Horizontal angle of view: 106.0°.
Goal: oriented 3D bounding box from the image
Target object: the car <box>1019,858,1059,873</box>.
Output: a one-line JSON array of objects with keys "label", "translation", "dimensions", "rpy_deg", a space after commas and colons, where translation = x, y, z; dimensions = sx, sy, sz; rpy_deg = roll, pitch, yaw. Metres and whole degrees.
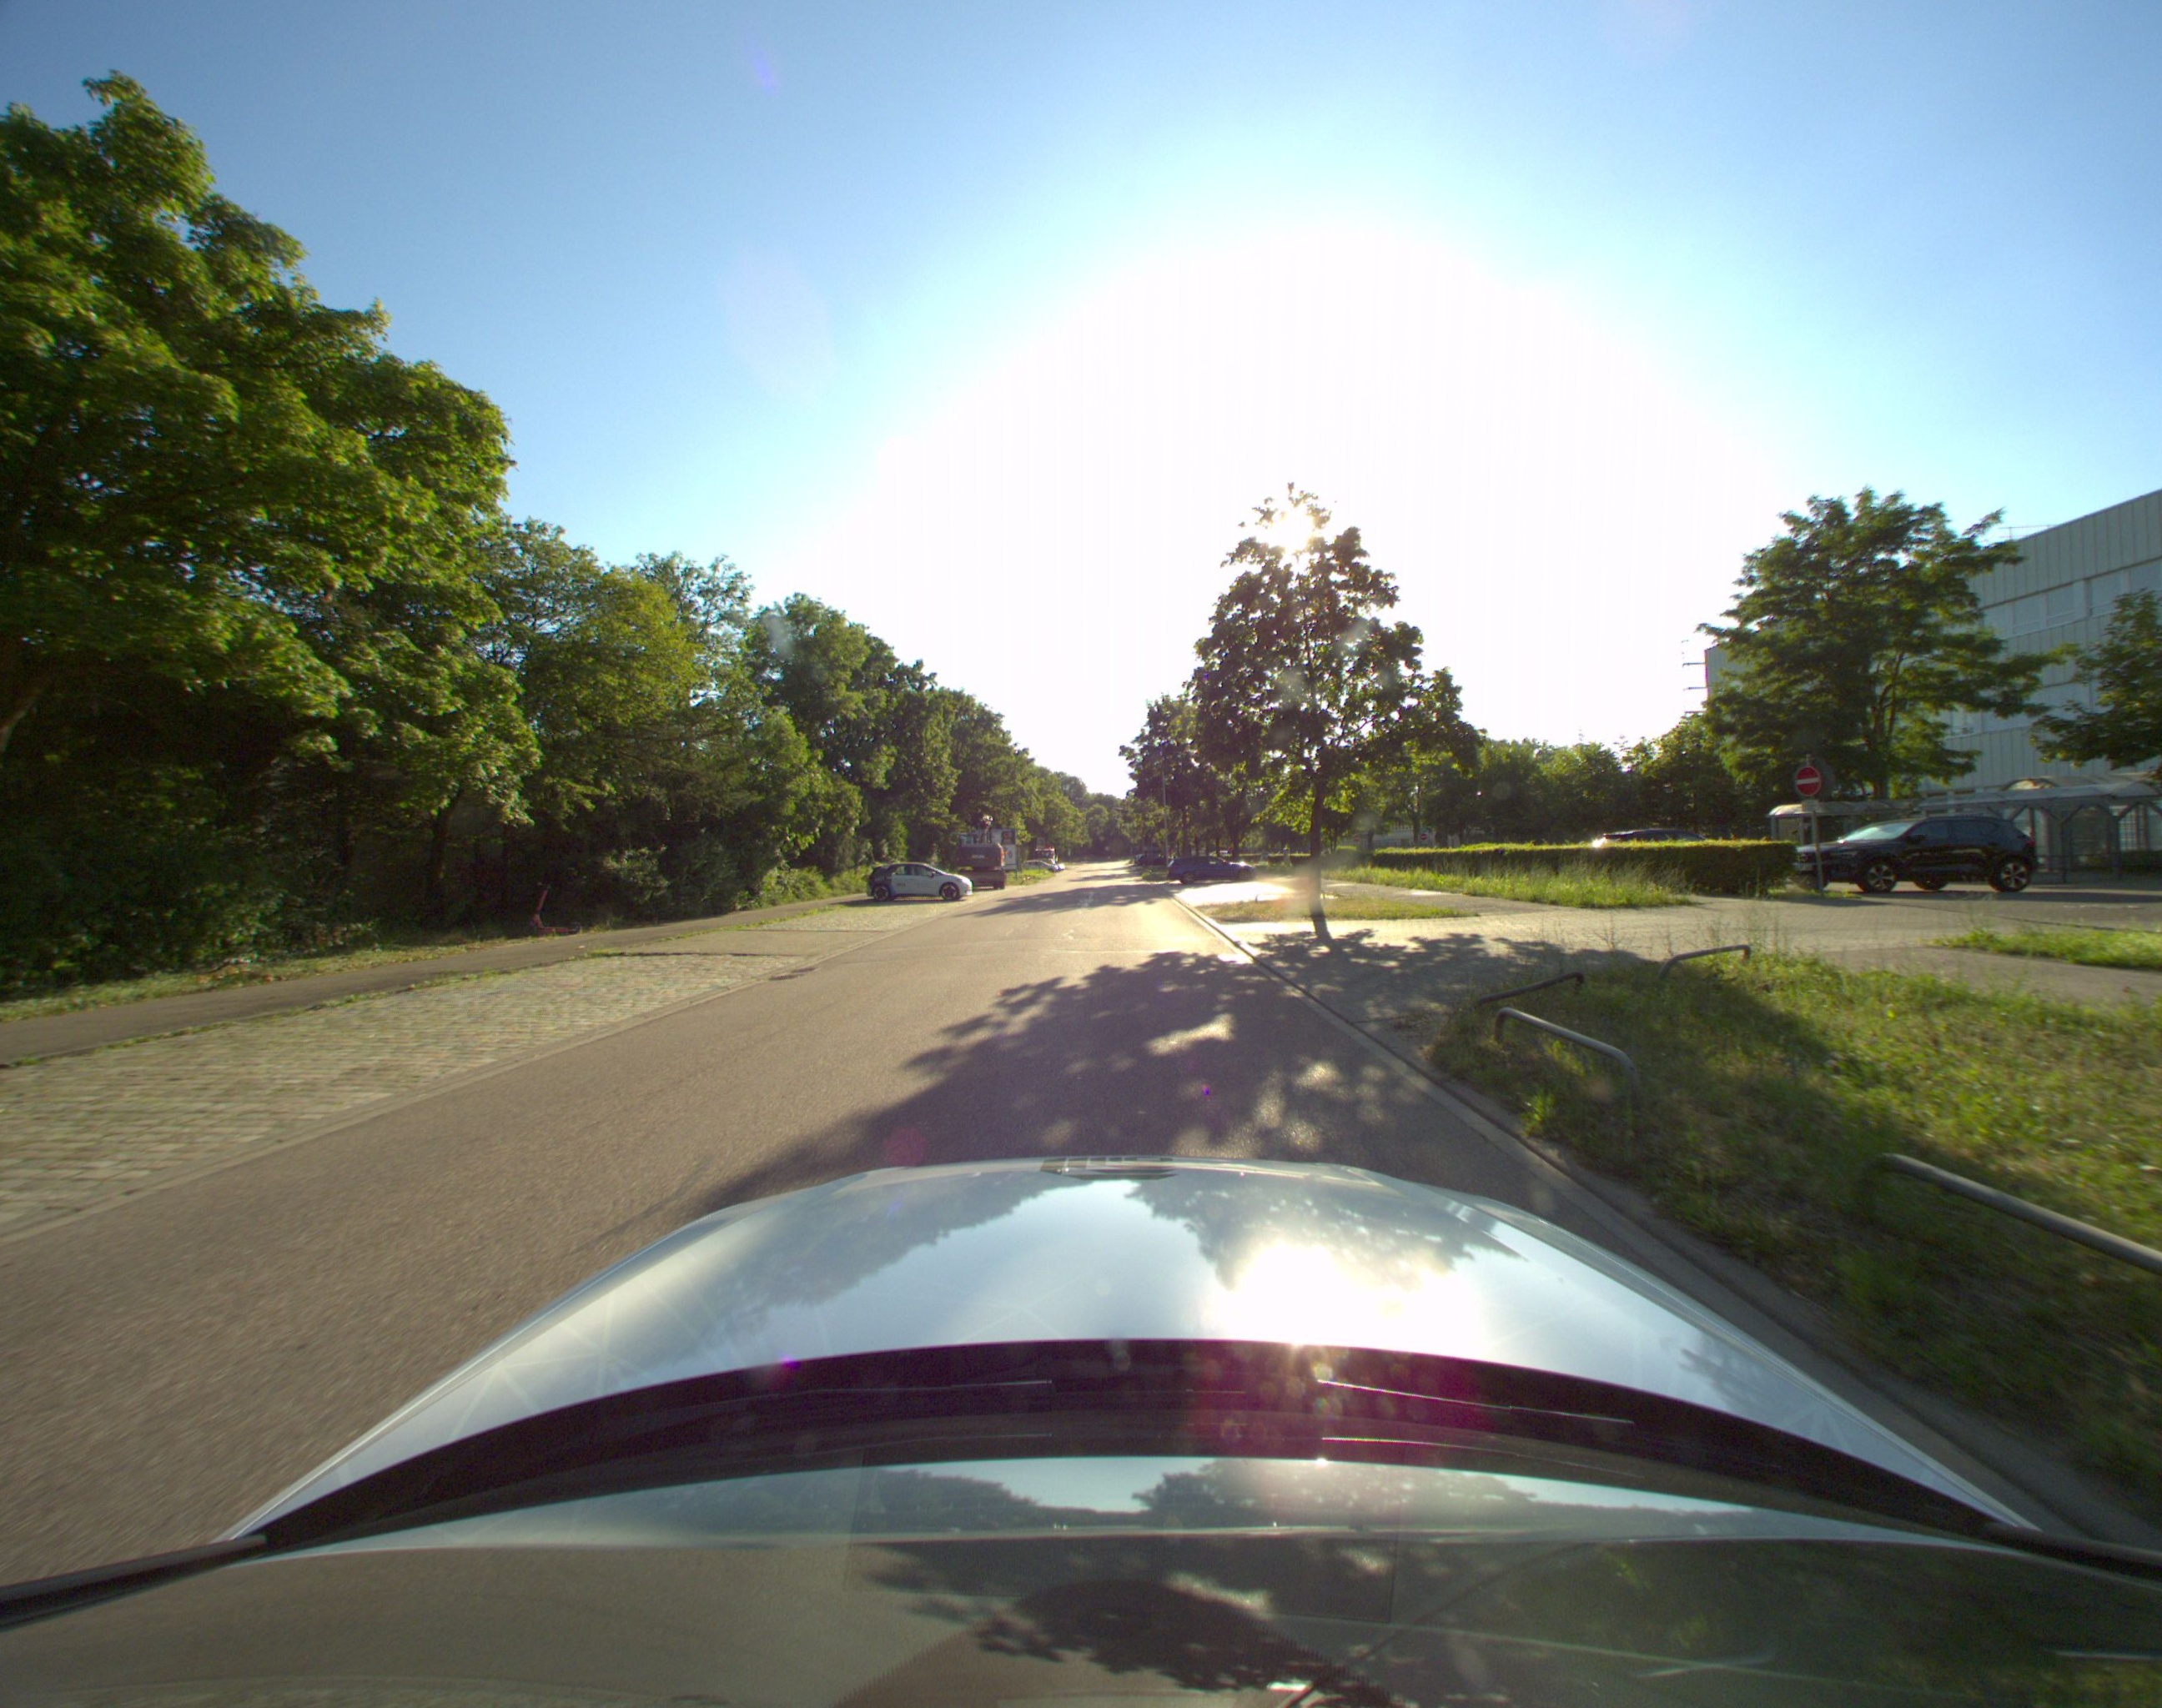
[{"label": "car", "translation": [-4.609, 1.236, 88.960], "dimensions": [4.351, 1.479, 1.997], "rpy_deg": [-2, 0, -5]}]

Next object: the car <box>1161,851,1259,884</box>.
[{"label": "car", "translation": [6.653, 0.667, 42.519], "dimensions": [4.822, 1.479, 2.001], "rpy_deg": [-2, 0, 2]}]

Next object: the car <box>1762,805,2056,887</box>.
[{"label": "car", "translation": [18.225, -0.160, 18.124], "dimensions": [4.412, 1.706, 2.060], "rpy_deg": [0, 0, 2]}]

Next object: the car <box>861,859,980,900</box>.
[{"label": "car", "translation": [-6.513, 1.019, 33.379], "dimensions": [4.341, 1.547, 2.001], "rpy_deg": [1, 0, 2]}]

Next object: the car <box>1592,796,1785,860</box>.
[{"label": "car", "translation": [18.473, -0.772, 24.928], "dimensions": [4.340, 1.705, 2.002], "rpy_deg": [-2, 0, 3]}]

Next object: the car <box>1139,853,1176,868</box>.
[{"label": "car", "translation": [9.321, 0.766, 98.962], "dimensions": [4.343, 1.729, 2.000], "rpy_deg": [0, 0, 1]}]

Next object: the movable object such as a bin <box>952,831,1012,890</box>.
[{"label": "movable object such as a bin", "translation": [-5.524, 0.356, 46.216], "dimensions": [2.831, 3.068, 4.922], "rpy_deg": [-2, 0, -2]}]

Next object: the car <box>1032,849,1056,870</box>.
[{"label": "car", "translation": [-4.394, 0.641, 95.730], "dimensions": [2.512, 2.386, 4.365], "rpy_deg": [-2, 0, -5]}]

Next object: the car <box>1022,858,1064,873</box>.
[{"label": "car", "translation": [-4.078, 1.209, 86.352], "dimensions": [4.351, 1.479, 1.997], "rpy_deg": [-2, 0, -5]}]

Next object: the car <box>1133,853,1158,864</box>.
[{"label": "car", "translation": [10.760, 0.802, 135.446], "dimensions": [3.973, 1.680, 2.000], "rpy_deg": [-2, 0, 1]}]

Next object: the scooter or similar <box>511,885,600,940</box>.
[{"label": "scooter or similar", "translation": [-12.089, 1.324, 18.774], "dimensions": [0.570, 1.145, 1.594], "rpy_deg": [-3, -1, 42]}]
